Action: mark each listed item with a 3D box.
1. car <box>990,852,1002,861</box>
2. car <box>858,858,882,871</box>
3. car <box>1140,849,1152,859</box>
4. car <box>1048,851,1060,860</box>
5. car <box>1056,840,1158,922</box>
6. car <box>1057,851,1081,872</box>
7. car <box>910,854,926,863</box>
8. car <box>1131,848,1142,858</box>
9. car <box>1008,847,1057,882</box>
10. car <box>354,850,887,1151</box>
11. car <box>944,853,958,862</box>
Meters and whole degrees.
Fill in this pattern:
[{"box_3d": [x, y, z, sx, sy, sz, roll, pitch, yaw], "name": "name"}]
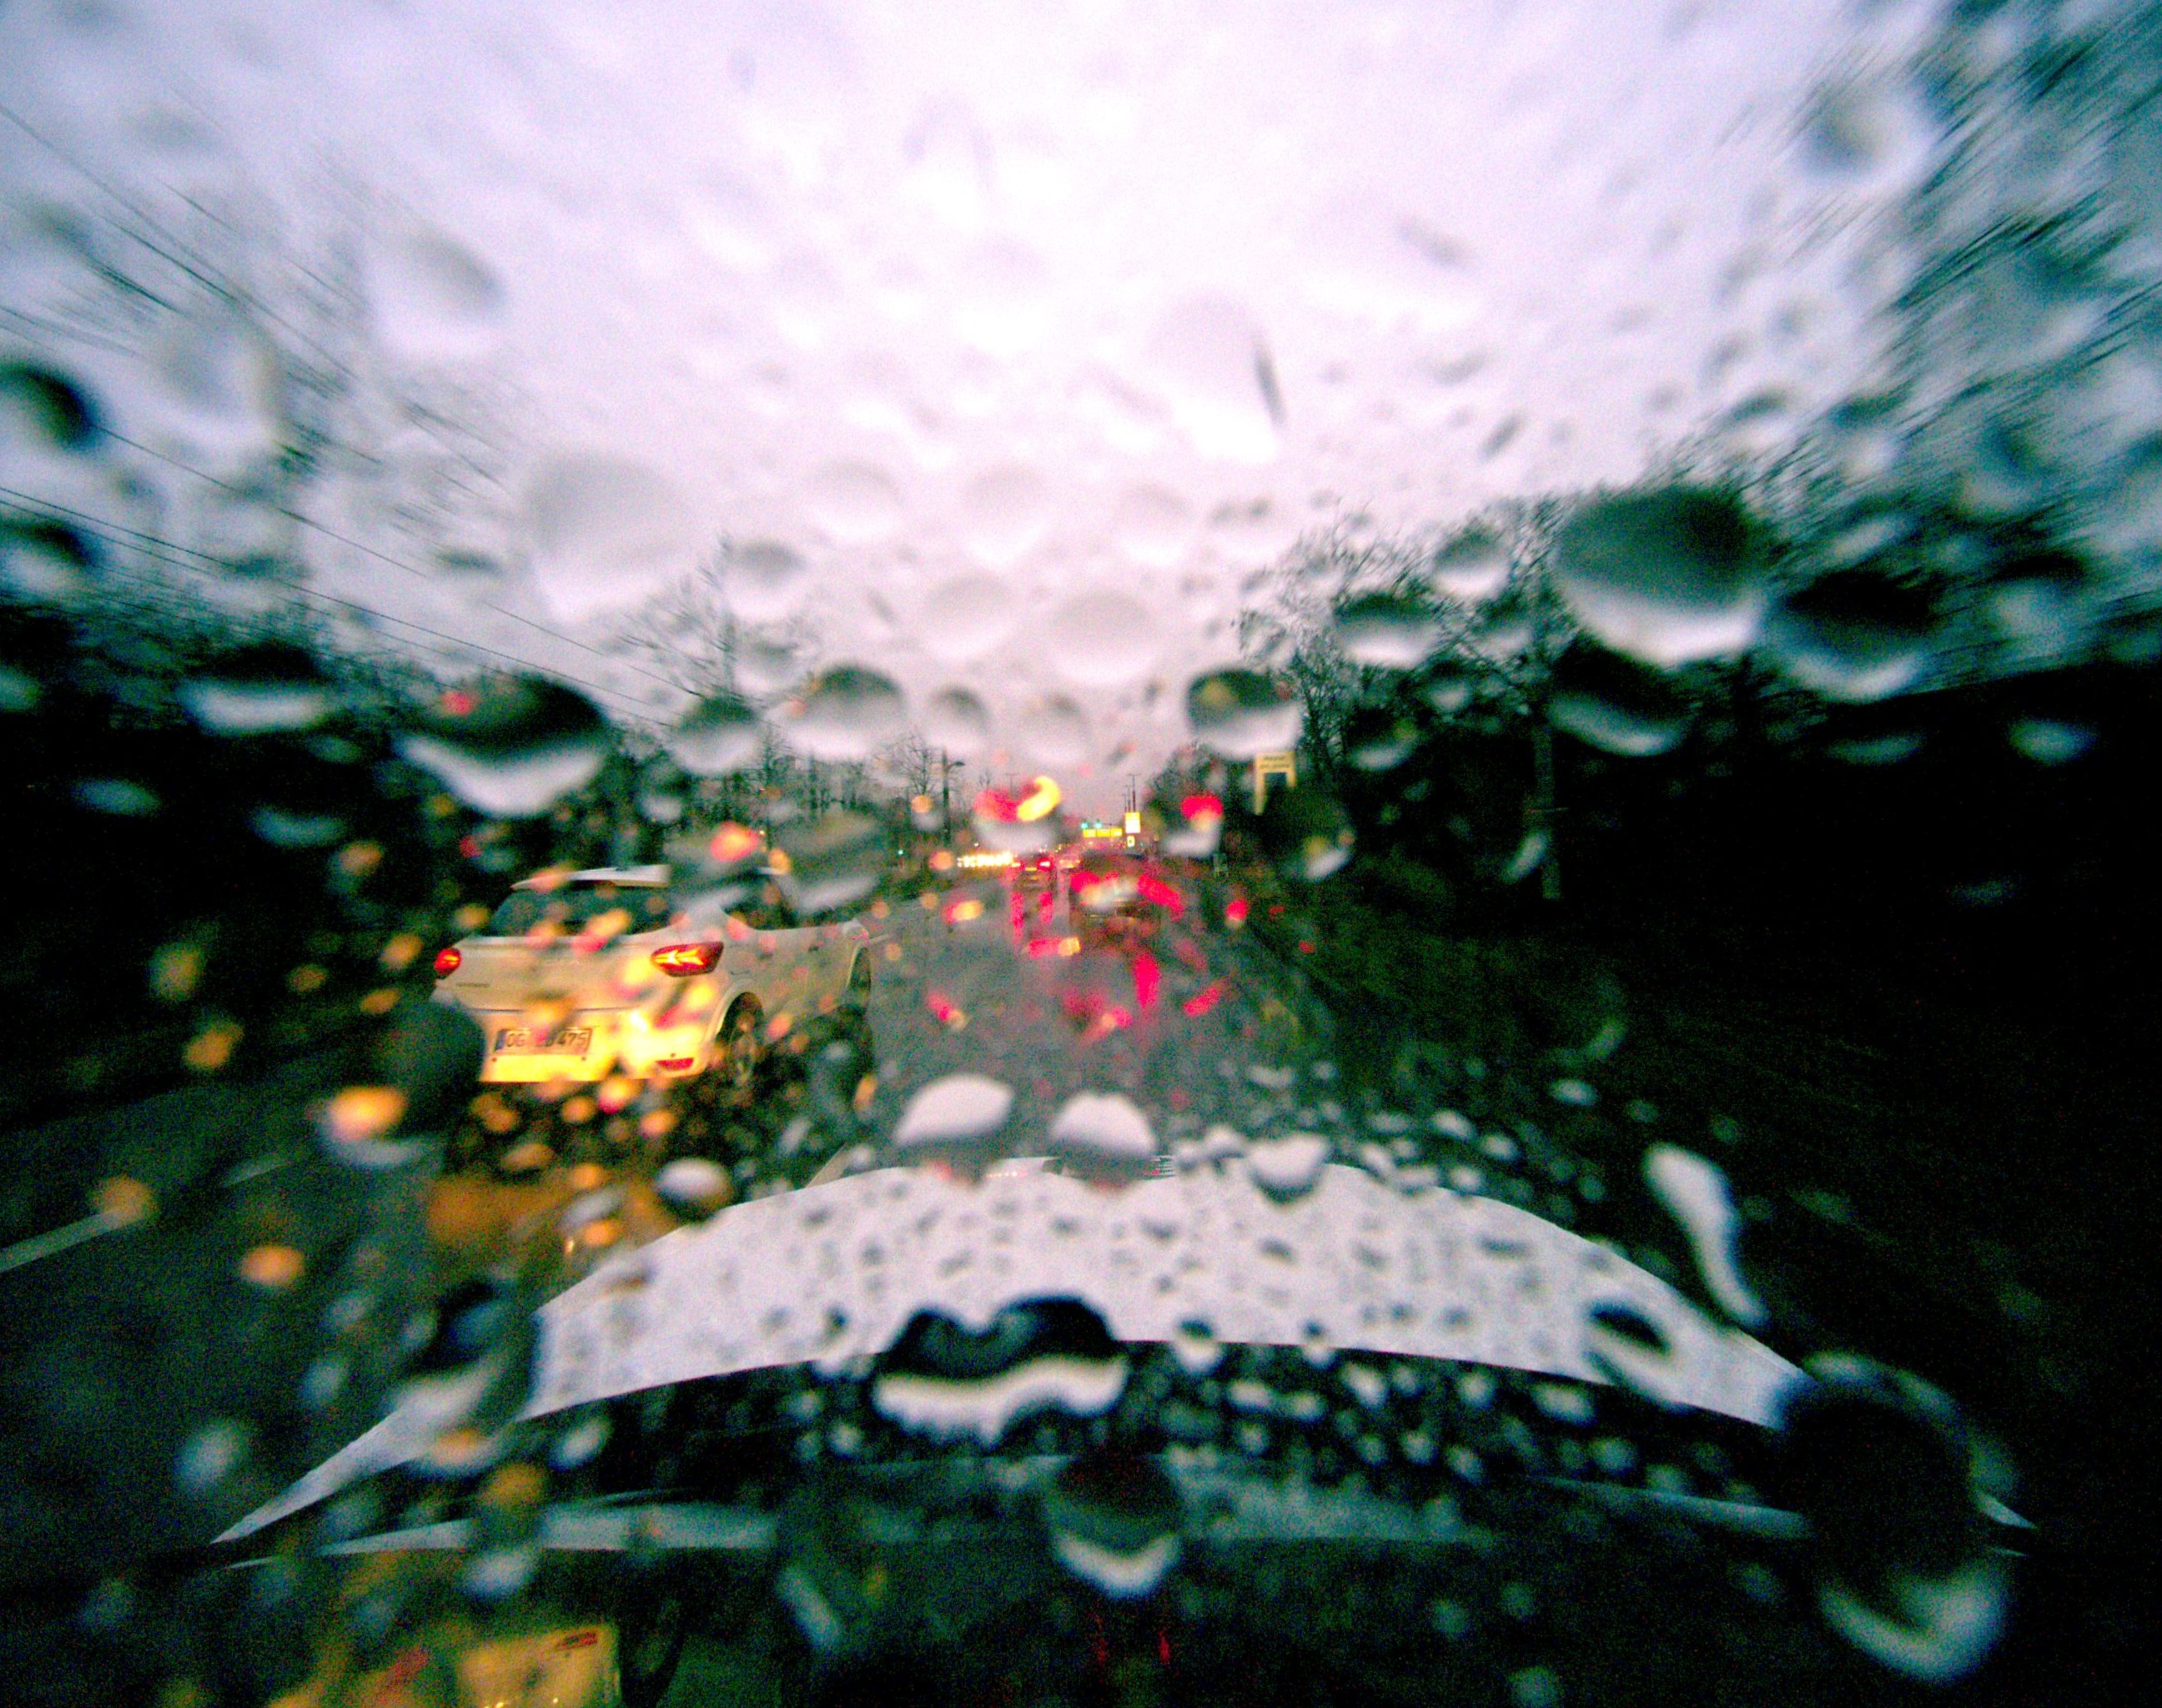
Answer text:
[{"box_3d": [-16.935, 0.481, 162.369, 1.986, 1.658, 4.001, -1, 0, 2], "name": "car"}, {"box_3d": [-28.196, 1.372, 108.986, 1.986, 1.658, 4.001, -1, 0, 2], "name": "car"}, {"box_3d": [11.310, 0.020, 141.674, 1.986, 1.759, 4.001, -1, 0, 2], "name": "car"}, {"box_3d": [-5.352, 0.249, 161.174, 1.986, 1.666, 3.838, -1, 0, 2], "name": "car"}, {"box_3d": [0.571, 0.531, 18.222, 1.991, 1.584, 4.001, -1, 0, 1], "name": "car"}, {"box_3d": [-0.933, 0.606, 65.776, 1.702, 1.558, 3.997, -2, 0, 2], "name": "car"}, {"box_3d": [-29.112, 0.795, 145.602, 1.986, 1.658, 4.001, -1, 0, 2], "name": "car"}, {"box_3d": [10.877, -0.181, 158.938, 1.986, 1.857, 4.001, -1, 0, 2], "name": "car"}, {"box_3d": [-2.144, 0.432, 36.951, 1.874, 1.459, 4.000, -2, 1, 1], "name": "car"}, {"box_3d": [-2.922, 0.768, 6.362, 1.703, 1.525, 4.135, -2, 0, 1], "name": "car"}, {"box_3d": [-24.323, 0.706, 152.427, 1.986, 1.658, 4.001, -1, 0, 2], "name": "car"}]
